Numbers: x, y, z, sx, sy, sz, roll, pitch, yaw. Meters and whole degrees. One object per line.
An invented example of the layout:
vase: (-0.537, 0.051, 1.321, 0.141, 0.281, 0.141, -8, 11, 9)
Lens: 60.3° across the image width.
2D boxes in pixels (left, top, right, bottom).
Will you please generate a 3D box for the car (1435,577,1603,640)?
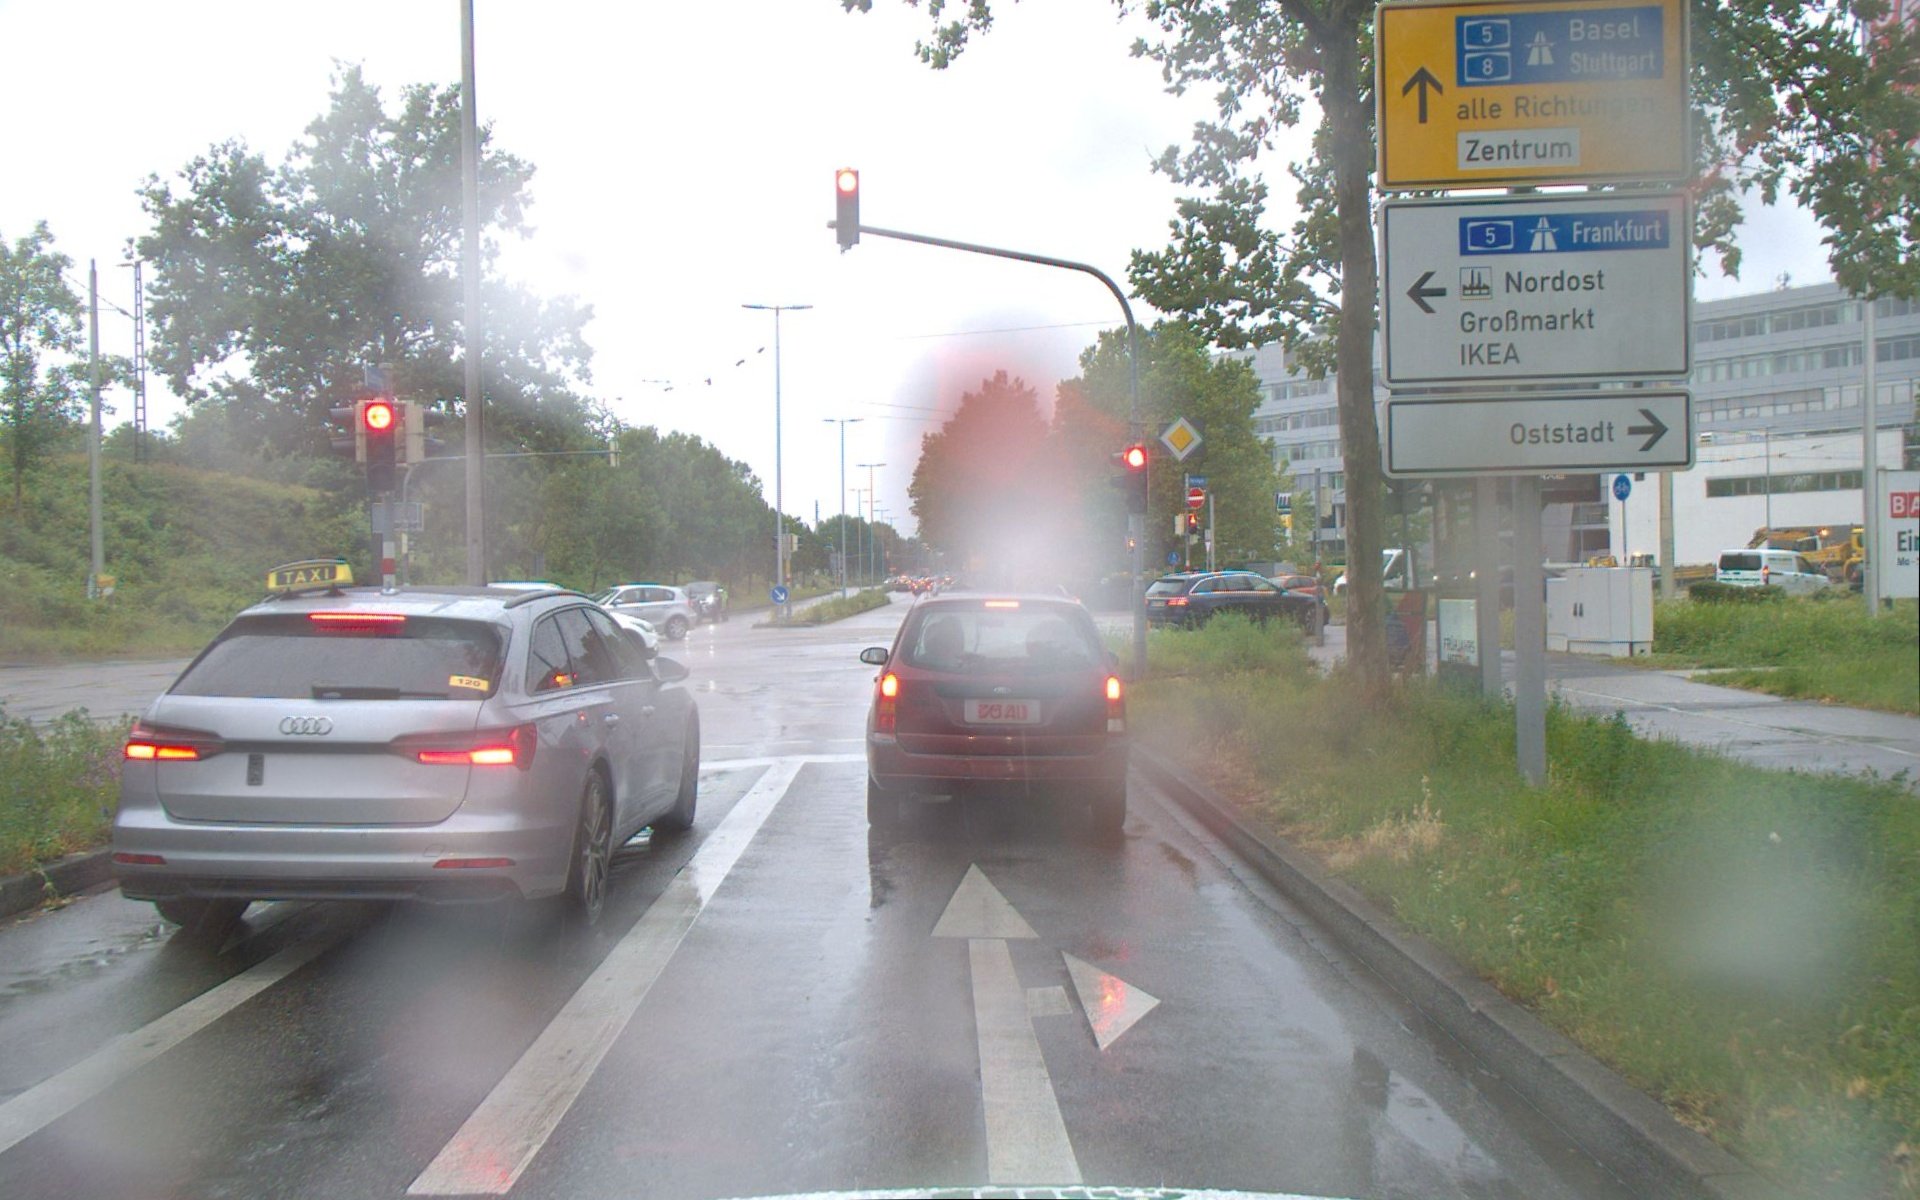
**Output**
car: (14.588, 0.203, 43.106, 4.327, 1.564, 1.784, 0, 0, -30)

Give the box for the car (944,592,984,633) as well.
car: (0.167, 0.630, 85.506, 1.953, 2.049, 3.999, -1, 0, -1)

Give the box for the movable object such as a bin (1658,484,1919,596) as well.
movable object such as a bin: (53.277, -3.546, 104.840, 8.168, 6.393, 14.792, 1, 0, -34)

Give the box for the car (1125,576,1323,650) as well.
car: (6.061, 0.280, 37.862, 4.327, 1.564, 1.784, -1, 0, -30)

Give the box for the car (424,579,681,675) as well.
car: (-7.192, 0.432, 29.289, 4.015, 1.547, 1.976, -1, 0, -34)

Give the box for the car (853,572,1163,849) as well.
car: (0.246, 0.628, 11.694, 1.760, 1.564, 4.386, 1, 0, -1)

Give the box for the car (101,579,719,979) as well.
car: (-2.346, 0.645, 8.352, 1.656, 1.458, 4.573, 0, 0, -1)

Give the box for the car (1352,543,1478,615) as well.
car: (15.595, -0.727, 56.633, 4.339, 2.228, 1.779, -4, 2, -36)

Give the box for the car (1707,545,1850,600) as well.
car: (24.694, -0.830, 49.861, 4.327, 1.564, 1.784, -1, 0, -30)

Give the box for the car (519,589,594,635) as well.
car: (-14.174, 0.392, 58.312, 1.678, 1.556, 3.999, -1, 0, -1)

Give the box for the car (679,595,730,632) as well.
car: (-11.405, 0.592, 73.986, 1.678, 1.556, 3.999, -1, 0, -1)

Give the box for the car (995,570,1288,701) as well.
car: (2.719, 0.431, 24.127, 4.349, 1.563, 1.775, -4, 3, -41)

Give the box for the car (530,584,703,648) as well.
car: (-8.774, 0.391, 42.385, 3.962, 1.512, 1.793, -1, 0, -40)

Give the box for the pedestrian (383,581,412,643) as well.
pedestrian: (-16.667, 0.342, 49.012, 0.522, 1.817, 0.673, 0, -1, 16)
